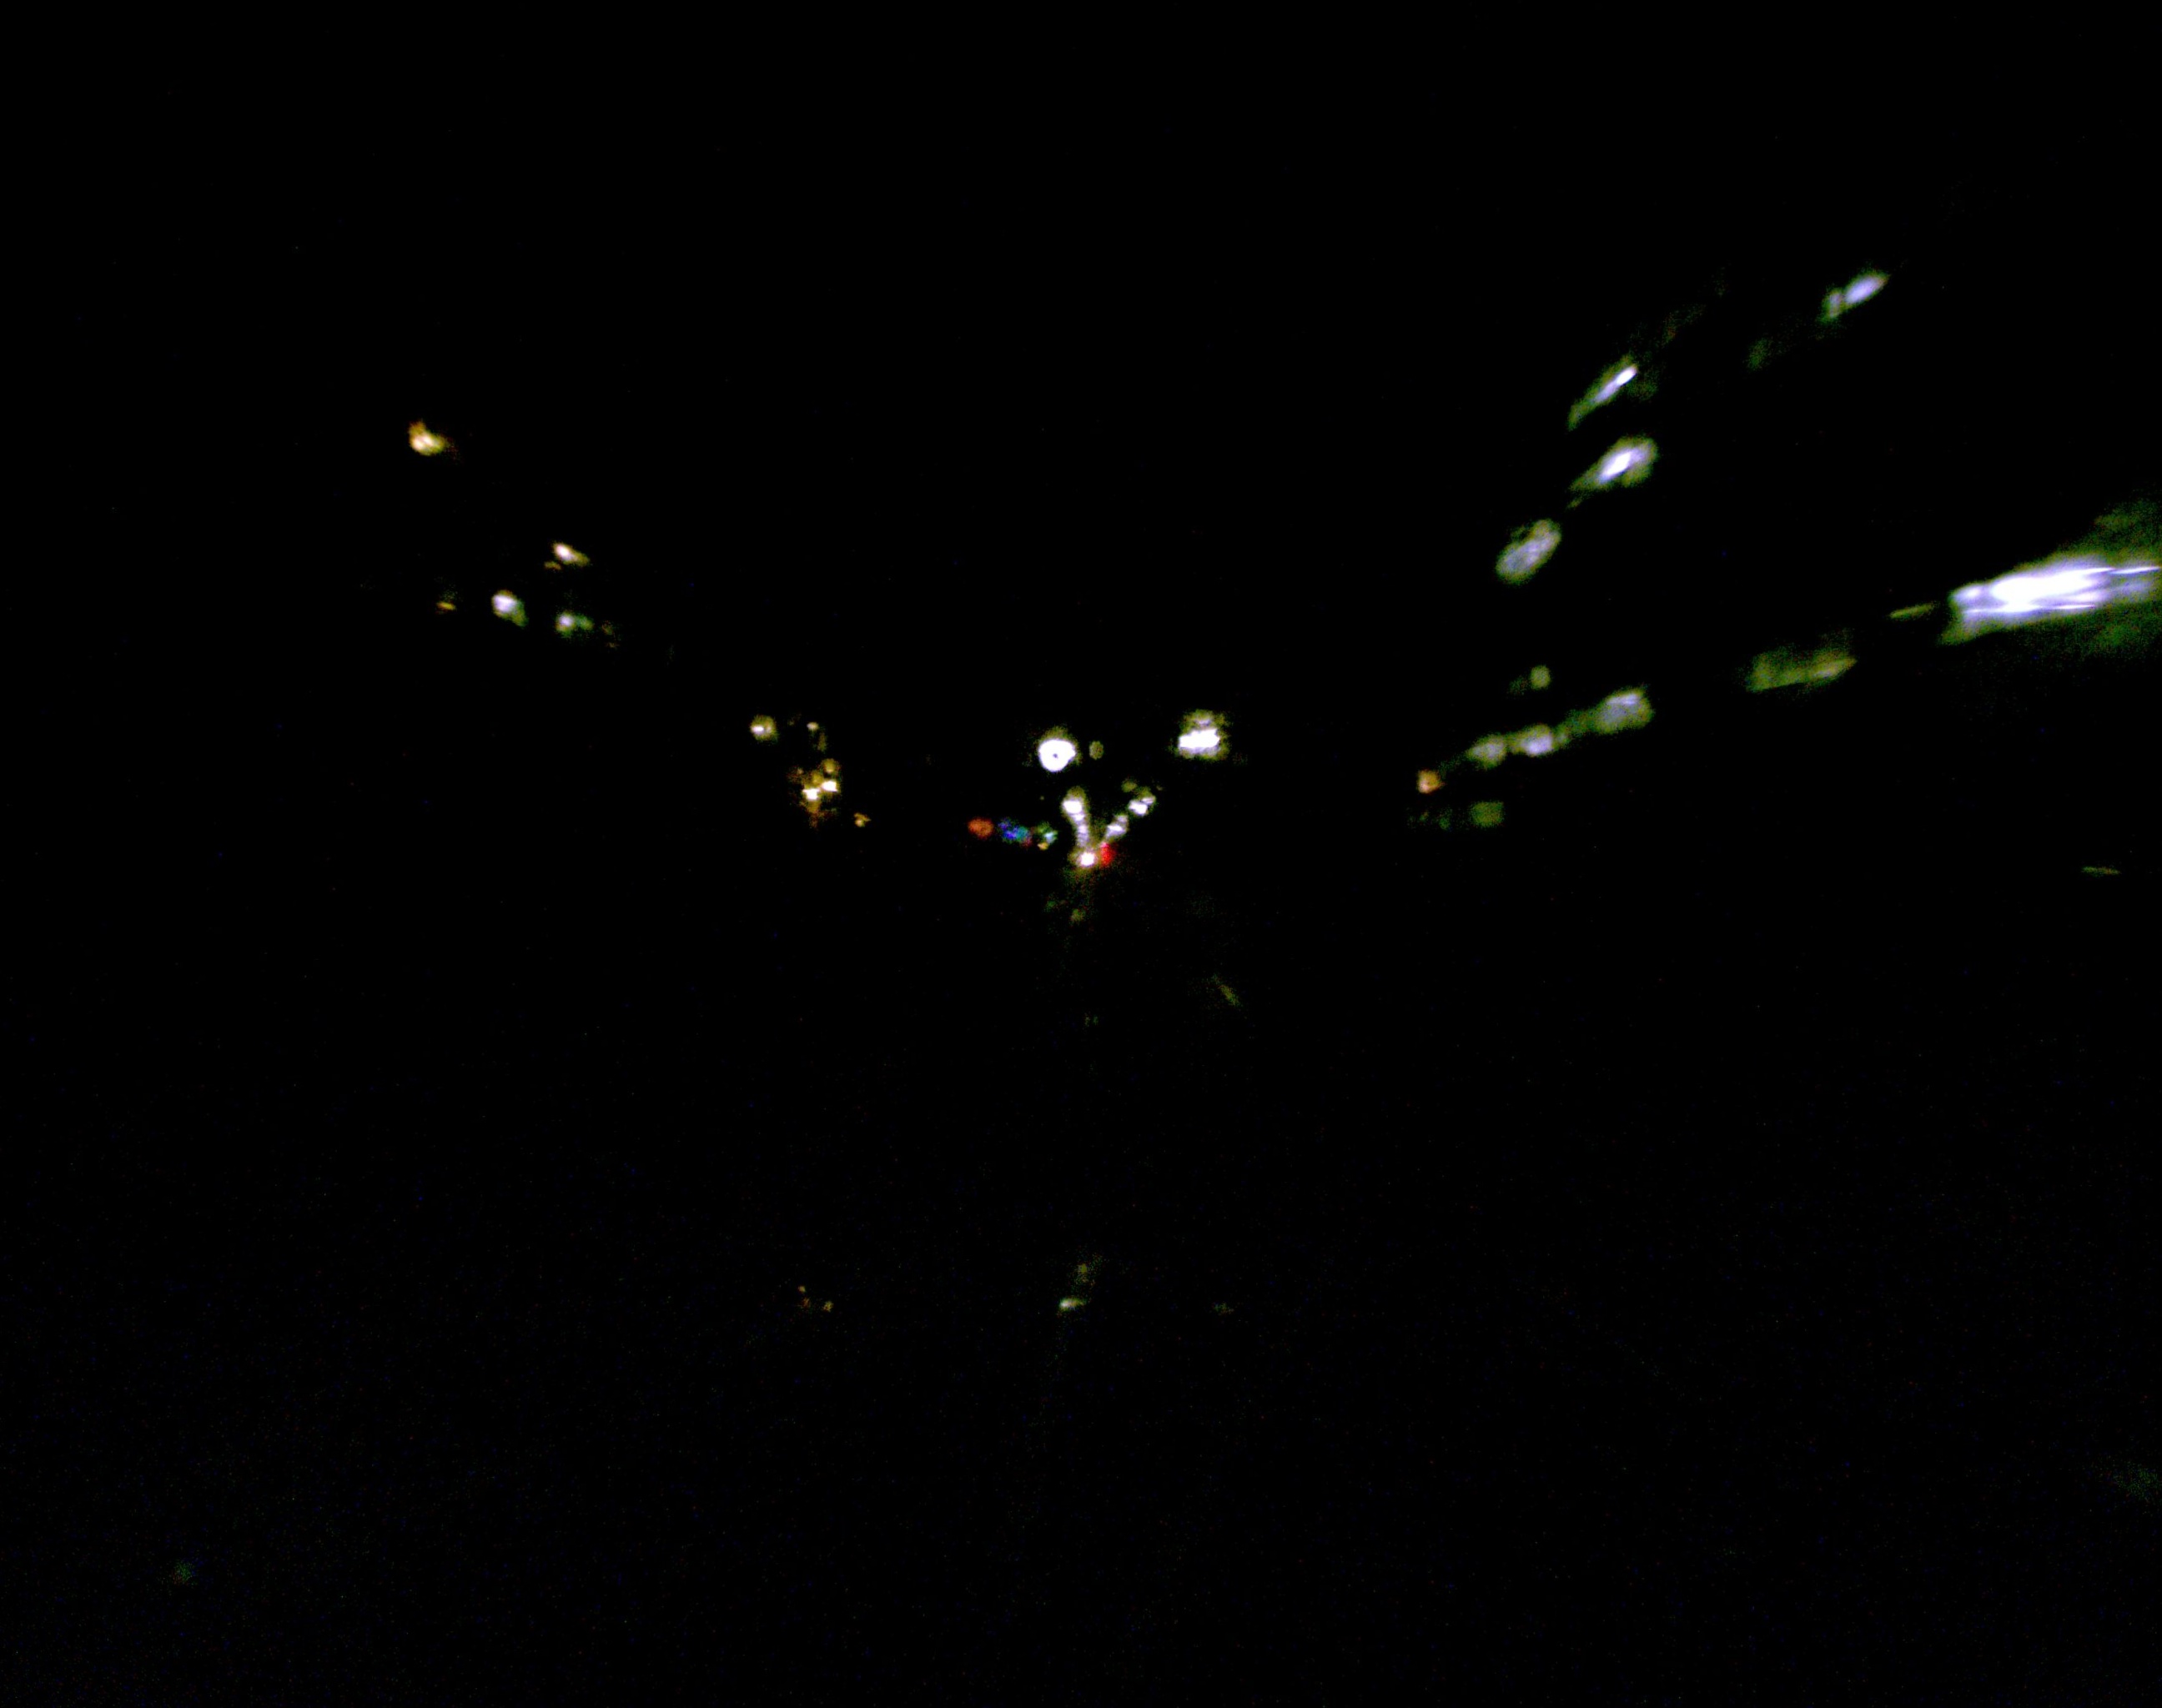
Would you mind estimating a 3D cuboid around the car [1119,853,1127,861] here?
[{"bbox_3d":[13.328,0.857,241.645,2.248,2.494,5.259,-3,0,-2],"label":"car"}]

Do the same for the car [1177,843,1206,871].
[{"bbox_3d":[10.580,0.306,73.019,2.190,2.576,6.394,-1,-1,3],"label":"car"}]

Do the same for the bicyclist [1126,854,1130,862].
[{"bbox_3d":[9.688,0.775,155.802,0.784,1.646,1.206,1,1,1],"label":"bicyclist"}]

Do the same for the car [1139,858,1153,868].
[{"bbox_3d":[11.606,1.573,135.997,1.885,1.536,4.398,-4,0,-2],"label":"car"}]

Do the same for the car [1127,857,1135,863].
[{"bbox_3d":[13.001,1.518,199.389,1.814,1.569,4.353,-4,0,1],"label":"car"}]

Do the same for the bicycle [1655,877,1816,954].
[{"bbox_3d":[9.762,0.901,11.371,1.858,1.071,0.627,-1,1,1],"label":"bicycle"}]

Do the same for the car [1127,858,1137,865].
[{"bbox_3d":[11.270,1.723,167.964,1.778,1.432,4.607,0,0,-3],"label":"car"}]

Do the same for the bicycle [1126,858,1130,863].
[{"bbox_3d":[9.680,1.274,155.811,0.784,1.076,1.918,1,0,1],"label":"bicycle"}]

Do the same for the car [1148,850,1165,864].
[{"bbox_3d":[10.332,0.399,103.982,1.974,1.646,4.601,-3,0,2],"label":"car"}]

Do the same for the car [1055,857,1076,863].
[{"bbox_3d":[-3.729,1.401,179.089,4.604,1.467,1.837,0,0,-19],"label":"car"}]

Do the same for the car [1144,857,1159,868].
[{"bbox_3d":[11.334,1.315,122.195,1.988,1.621,4.517,-1,0,1],"label":"car"}]
